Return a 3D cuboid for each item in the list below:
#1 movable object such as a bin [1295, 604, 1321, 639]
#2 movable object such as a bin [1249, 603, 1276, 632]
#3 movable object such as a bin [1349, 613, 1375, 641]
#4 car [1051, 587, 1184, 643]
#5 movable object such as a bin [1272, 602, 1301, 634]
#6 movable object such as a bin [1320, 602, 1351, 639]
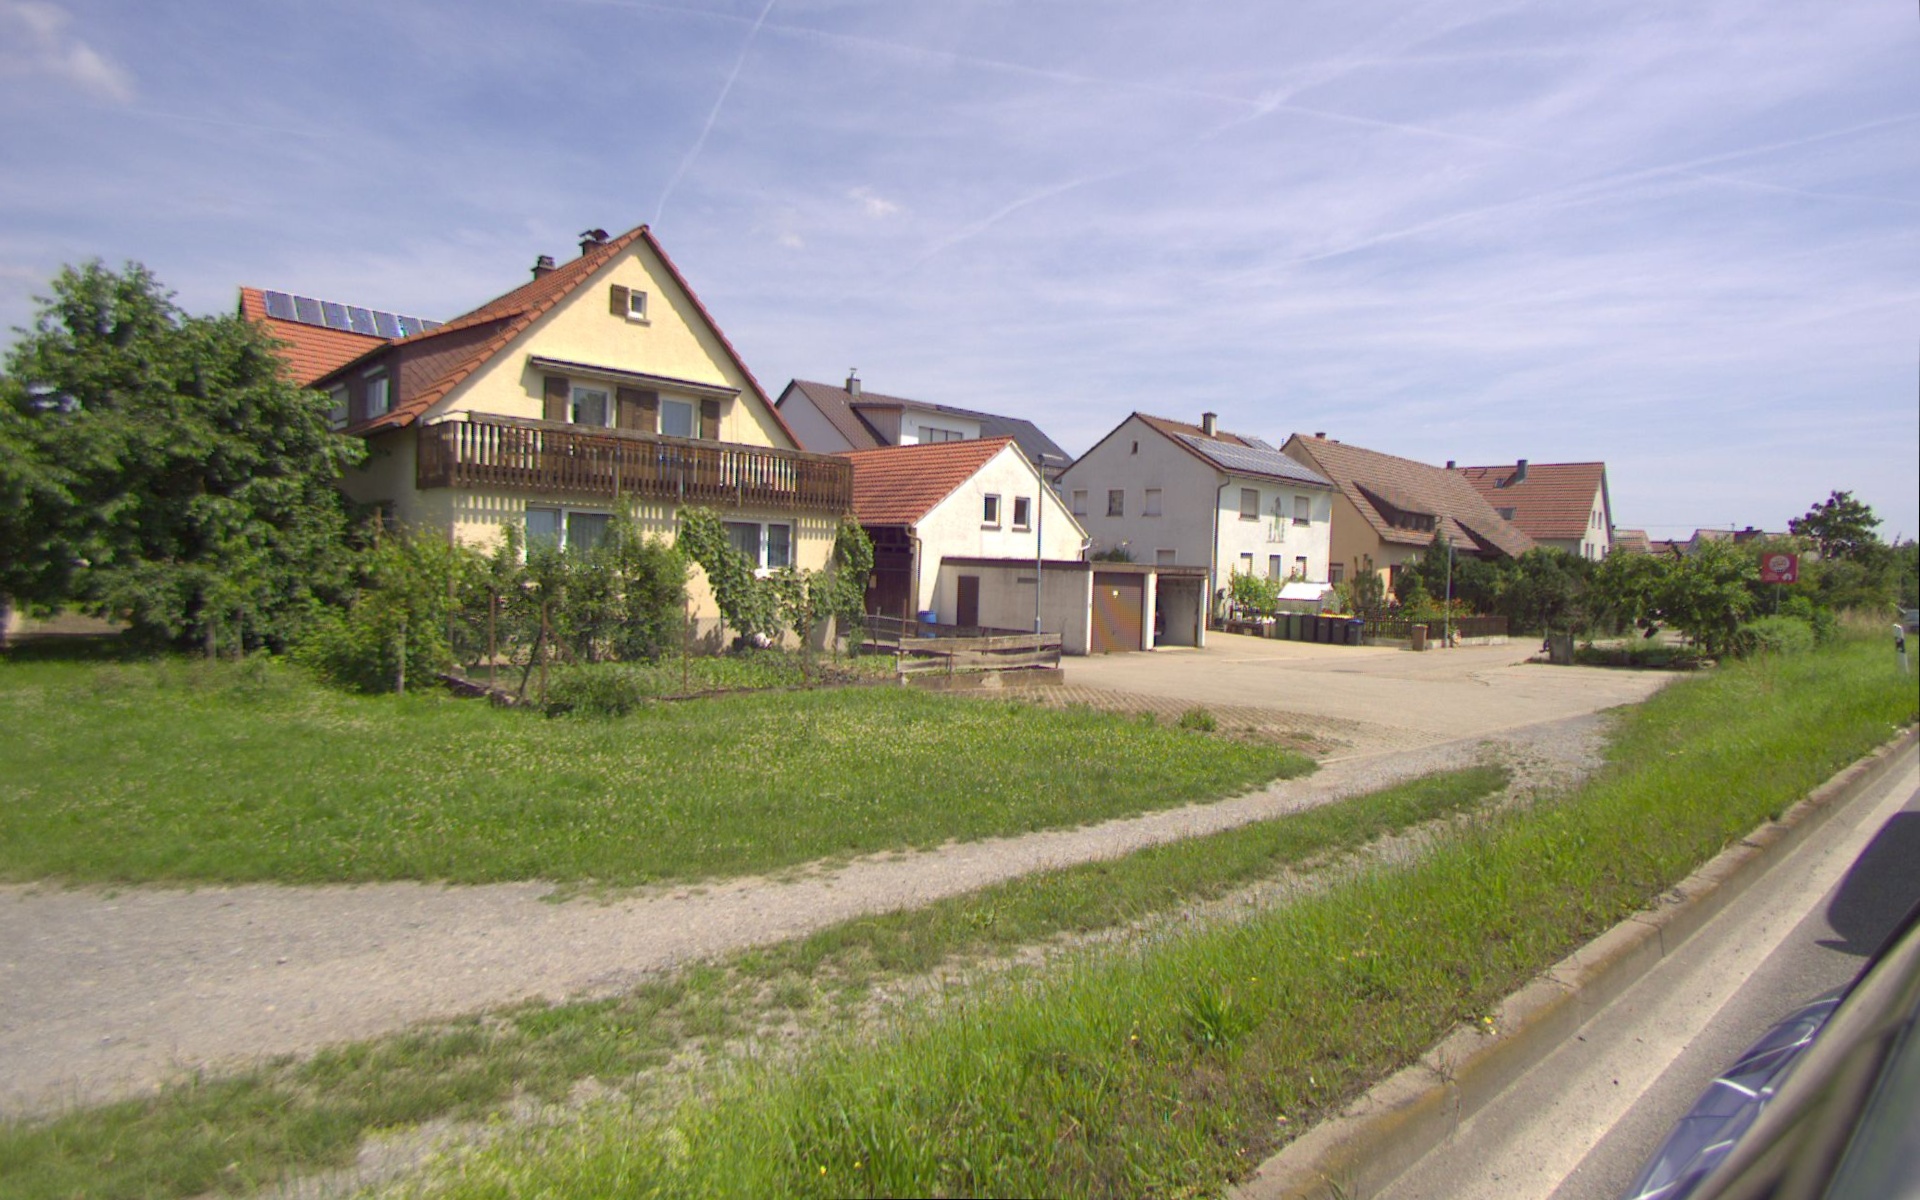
[{"bbox_3d":[13.712,0.845,39.896,0.806,1.355,0.677,1,0,-42],"label":"movable object such as a bin"},{"bbox_3d":[12.303,0.706,41.111,0.816,1.171,0.739,1,0,-42],"label":"movable object such as a bin"},{"bbox_3d":[15.085,1.001,37.982,0.743,1.040,0.645,1,0,-42],"label":"movable object such as a bin"},{"bbox_3d":[5.006,0.436,32.546,1.794,1.624,3.995,1,1,-40],"label":"car"},{"bbox_3d":[13.096,0.715,40.575,0.874,1.262,0.744,1,0,-42],"label":"movable object such as a bin"},{"bbox_3d":[14.367,0.787,38.684,0.930,1.387,0.764,1,0,-42],"label":"movable object such as a bin"}]
